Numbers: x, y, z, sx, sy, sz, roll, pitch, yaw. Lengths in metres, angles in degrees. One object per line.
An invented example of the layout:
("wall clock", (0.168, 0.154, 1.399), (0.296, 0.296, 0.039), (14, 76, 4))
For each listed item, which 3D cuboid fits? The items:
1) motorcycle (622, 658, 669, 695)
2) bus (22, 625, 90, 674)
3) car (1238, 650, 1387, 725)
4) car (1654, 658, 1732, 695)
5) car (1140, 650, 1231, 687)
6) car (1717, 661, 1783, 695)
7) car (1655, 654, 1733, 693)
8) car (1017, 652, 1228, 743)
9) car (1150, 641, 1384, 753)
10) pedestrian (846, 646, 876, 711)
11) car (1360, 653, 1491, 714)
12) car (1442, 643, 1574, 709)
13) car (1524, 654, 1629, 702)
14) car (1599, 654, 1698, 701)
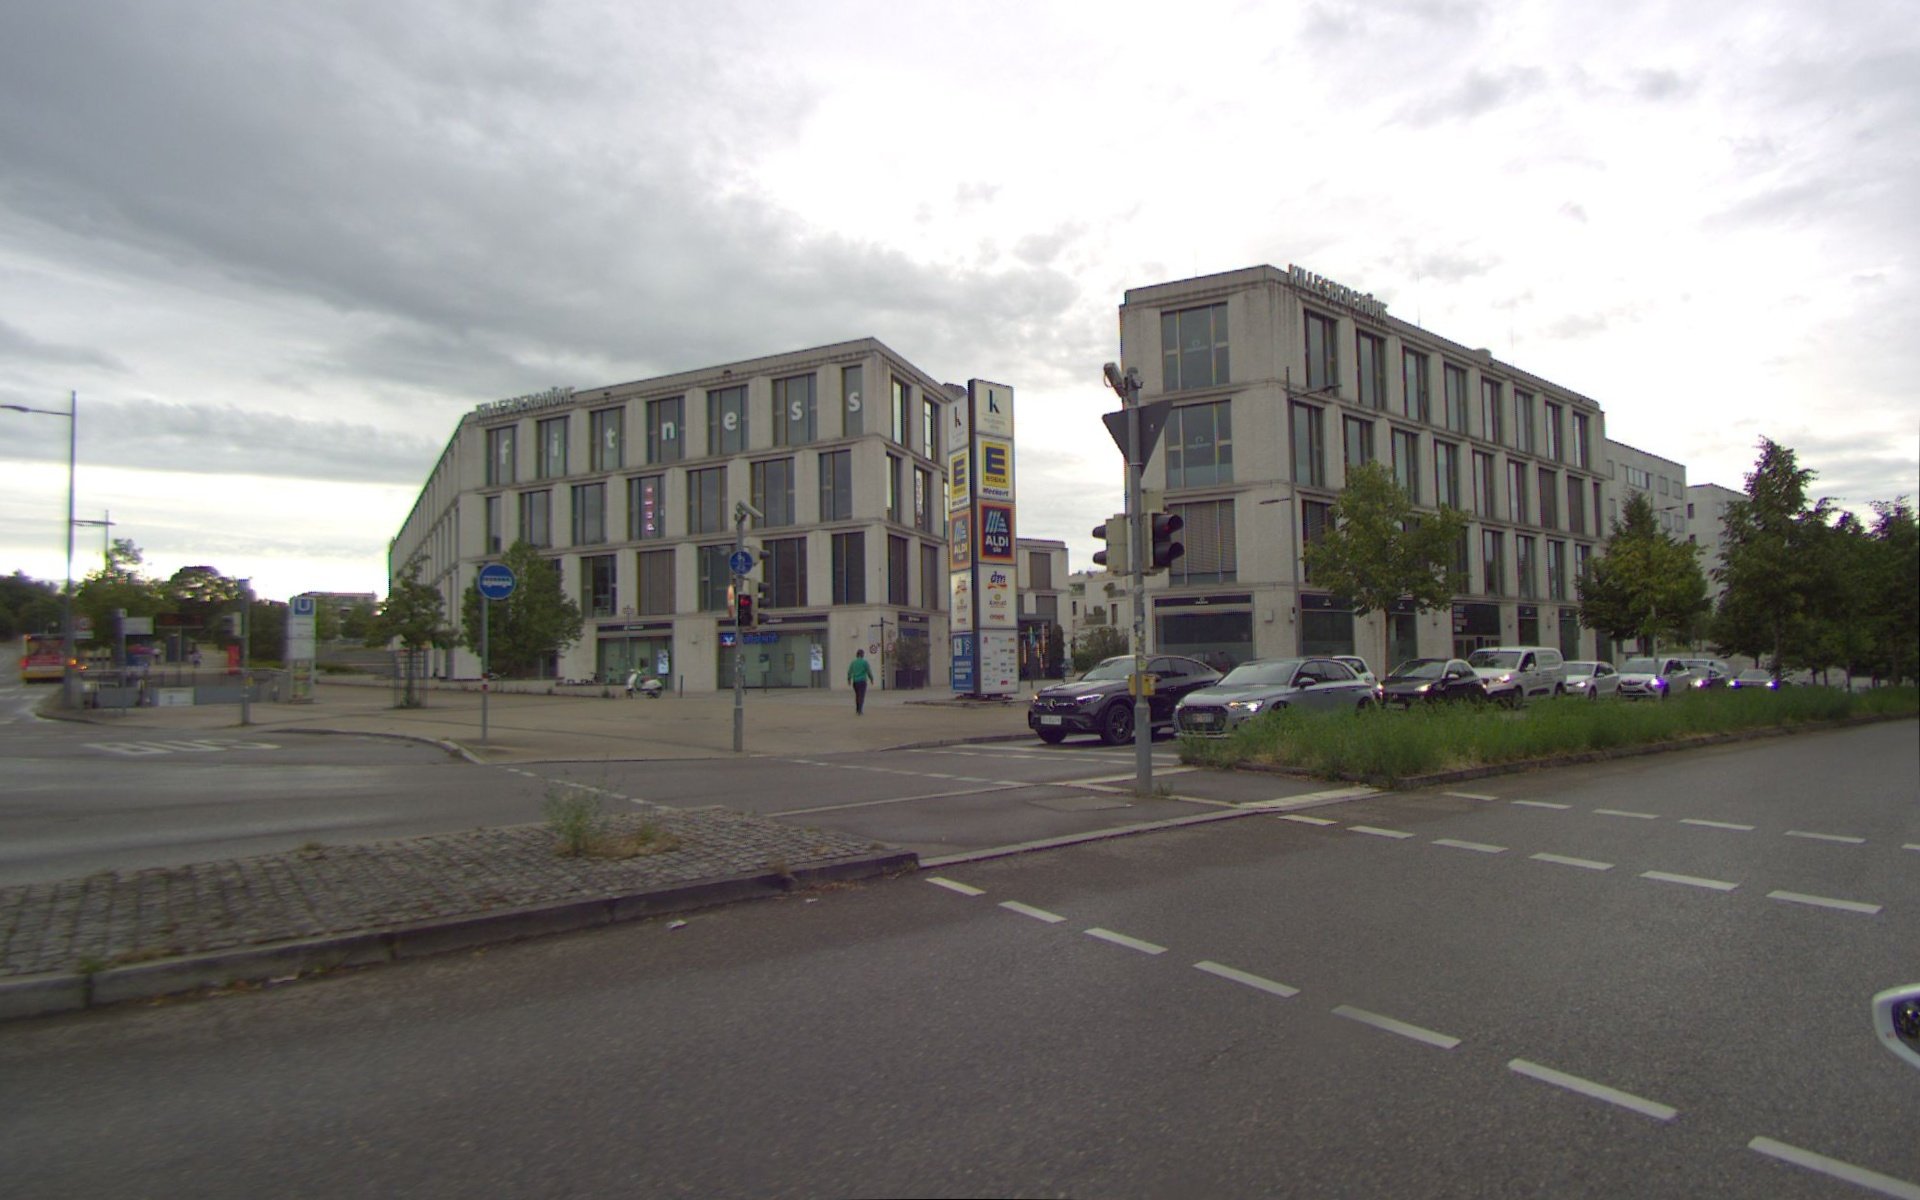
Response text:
("motorcycle", (-12.443, 3.017, 39.727), (0.521, 1.421, 1.745), (-2, -3, 44))
("bus", (-60.577, 3.295, 67.454), (2.858, 3.028, 9.893), (2, -3, -39))
("car", (8.316, 2.004, 23.586), (3.671, 1.596, 1.637), (2, -5, -40))
("car", (30.797, 3.202, 42.151), (3.962, 1.429, 1.629), (2, -5, -39))
("car", (8.857, 2.674, 39.414), (3.235, 1.394, 1.566), (-1, -3, 26))
("car", (38.282, 3.749, 48.642), (3.984, 1.602, 1.681), (3, -4, -40))
("car", (37.739, 3.800, 51.613), (5.220, 1.839, 2.104), (5, -6, -40))
("car", (3.177, 1.813, 19.303), (4.032, 1.539, 1.810), (2, -5, -41))
("car", (5.222, 1.512, 16.862), (4.131, 1.596, 1.833), (1, -2, -41))
("pedestrian", (-2.631, 2.070, 26.642), (0.738, 1.708, 0.680), (1, -3, -9))
("car", (12.457, 2.200, 26.815), (3.719, 1.479, 1.701), (2, -5, -40))
("car", (16.545, 2.215, 30.228), (4.732, 1.826, 1.829), (2, -3, -39))
("car", (20.971, 2.633, 34.124), (4.025, 1.486, 1.730), (2, -5, -39))
("car", (26.312, 2.921, 38.314), (4.634, 1.621, 1.815), (2, -5, -39))
